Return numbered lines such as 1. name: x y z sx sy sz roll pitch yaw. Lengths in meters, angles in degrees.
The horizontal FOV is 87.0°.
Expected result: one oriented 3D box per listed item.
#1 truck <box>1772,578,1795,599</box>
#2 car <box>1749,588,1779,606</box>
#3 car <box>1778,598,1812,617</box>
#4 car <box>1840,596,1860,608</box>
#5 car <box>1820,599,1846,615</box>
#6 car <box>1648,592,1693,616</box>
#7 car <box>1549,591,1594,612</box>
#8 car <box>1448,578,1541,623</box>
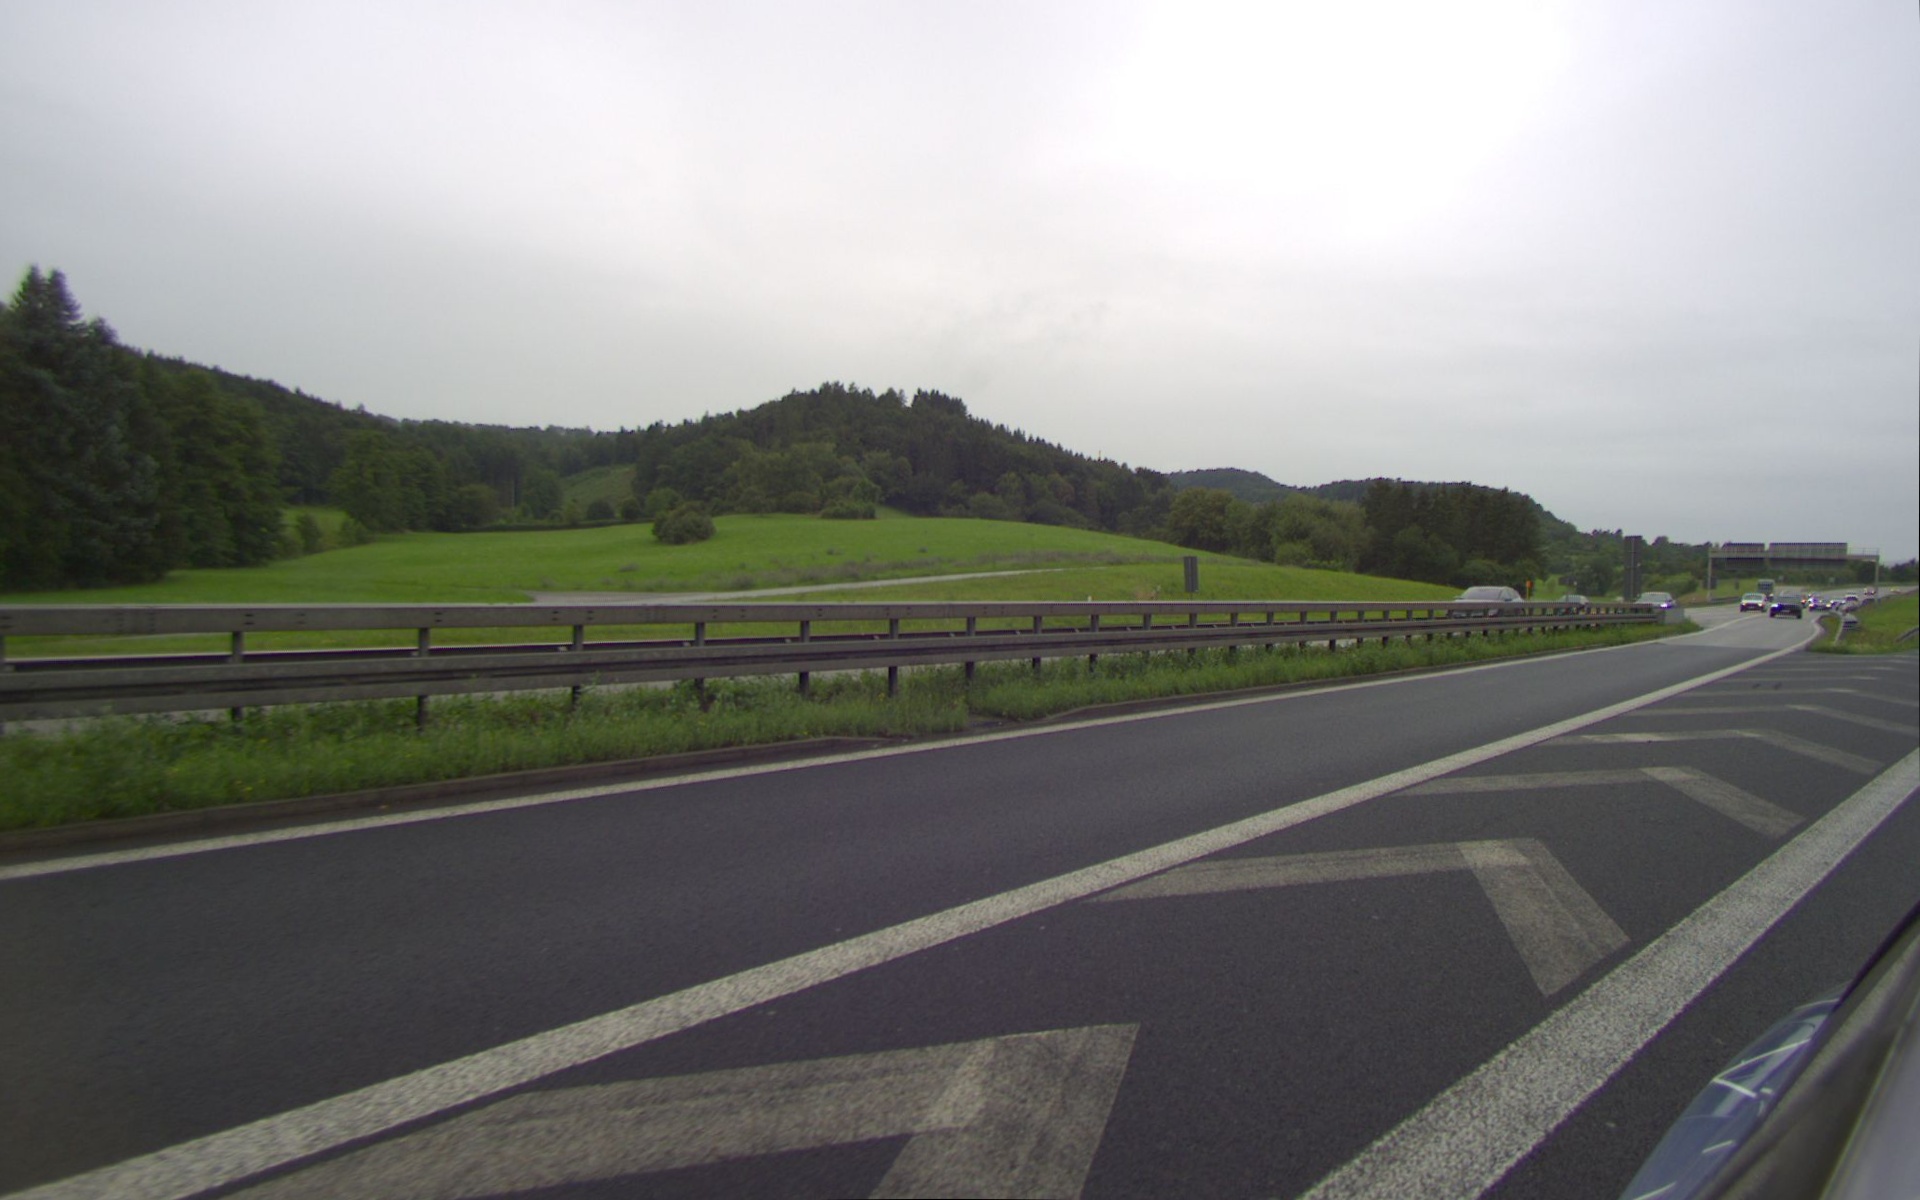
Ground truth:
1. truck: 158.814 -2.170 195.133 2.790 3.950 9.875 0 1 42
2. car: 80.235 -0.343 100.998 1.909 1.715 4.644 0 1 44
3. car: 64.460 0.566 78.121 1.861 1.374 4.498 0 1 42
4. car: 132.683 0.308 150.863 1.910 1.715 4.643 0 1 45
5. car: 99.285 0.760 115.106 1.910 1.715 4.643 0 1 45
6. car: 42.176 0.214 60.046 1.666 1.400 4.063 0 1 42
7. car: 45.441 0.109 75.183 1.899 1.473 4.635 0 1 44
8. car: 20.397 -0.019 38.521 4.566 1.630 1.771 -1 1 -43
